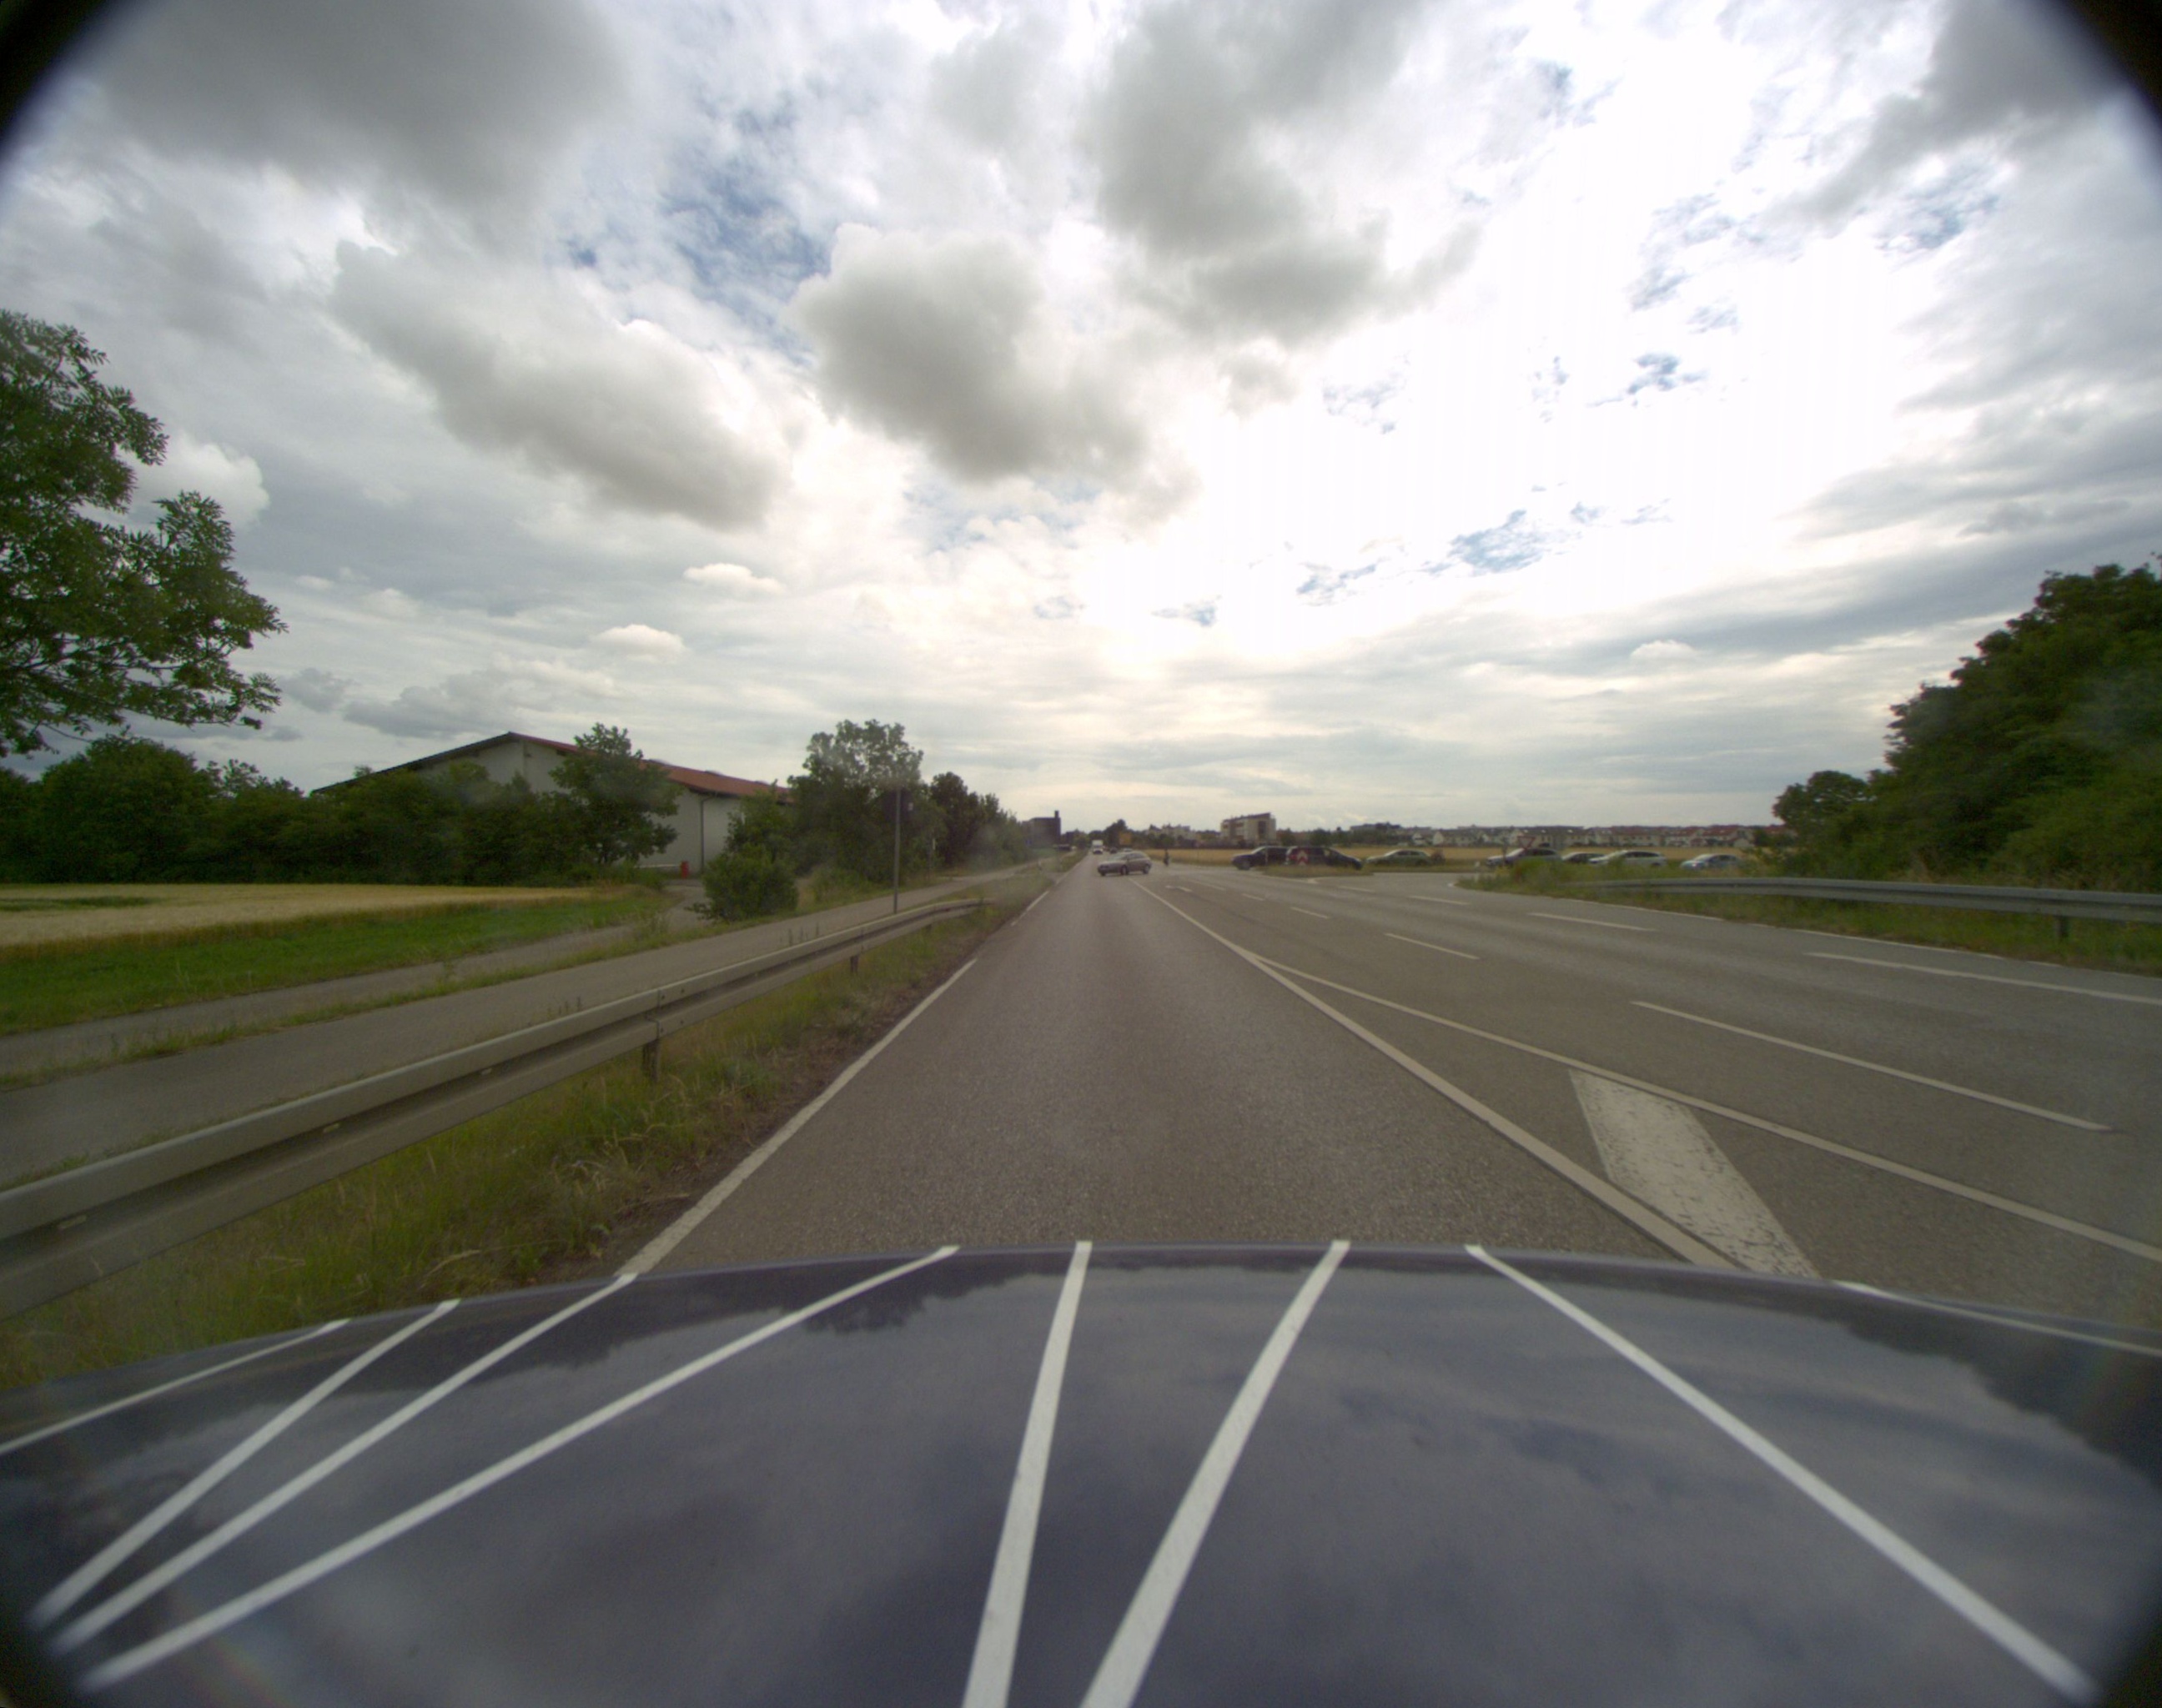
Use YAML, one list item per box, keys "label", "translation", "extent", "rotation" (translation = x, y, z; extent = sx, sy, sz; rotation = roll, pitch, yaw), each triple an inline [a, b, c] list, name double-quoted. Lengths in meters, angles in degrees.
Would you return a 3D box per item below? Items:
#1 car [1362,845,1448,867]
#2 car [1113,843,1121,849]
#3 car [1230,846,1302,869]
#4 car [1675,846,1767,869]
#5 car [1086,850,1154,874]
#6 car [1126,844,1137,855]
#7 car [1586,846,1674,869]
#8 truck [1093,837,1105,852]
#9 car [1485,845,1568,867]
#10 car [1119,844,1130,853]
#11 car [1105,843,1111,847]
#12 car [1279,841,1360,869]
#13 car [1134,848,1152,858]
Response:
- label: "car"
  translation: [22.950, 0.132, 53.929]
  extent: [5.295, 1.512, 1.912]
  rotation: [0, 1, 7]
- label: "car"
  translation: [8.729, -1.907, 182.836]
  extent: [1.683, 1.512, 4.395]
  rotation: [-2, 1, 1]
- label: "car"
  translation: [13.142, 0.249, 54.194]
  extent: [4.750, 1.523, 1.911]
  rotation: [0, 1, 3]
- label: "car"
  translation: [43.421, 0.239, 51.645]
  extent: [4.499, 1.474, 1.912]
  rotation: [0, 1, 7]
- label: "car"
  translation: [2.550, 0.465, 48.575]
  extent: [1.905, 1.416, 4.474]
  rotation: [0, 1, 43]
- label: "car"
  translation: [8.072, -0.730, 120.995]
  extent: [1.746, 1.521, 4.199]
  rotation: [-2, 1, 4]
- label: "car"
  translation: [37.417, 0.238, 51.899]
  extent: [4.499, 1.474, 1.912]
  rotation: [0, 1, 7]
- label: "truck"
  translation: [4.393, -2.260, 182.222]
  extent: [2.813, 3.588, 11.218]
  rotation: [0, 1, 2]
- label: "car"
  translation: [30.939, 0.121, 52.856]
  extent: [4.632, 1.508, 1.912]
  rotation: [0, 1, 7]
- label: "car"
  translation: [7.935, -0.979, 138.426]
  extent: [1.665, 1.475, 3.168]
  rotation: [-2, 1, 0]
- label: "car"
  translation: [9.017, -2.954, 250.464]
  extent: [1.740, 1.450, 4.131]
  rotation: [-1, 1, 0]
- label: "car"
  translation: [14.424, 0.059, 46.114]
  extent: [4.476, 1.602, 1.708]
  rotation: [-1, 1, 7]
- label: "car"
  translation: [8.353, -0.113, 102.699]
  extent: [2.170, 1.277, 4.236]
  rotation: [-2, 1, 1]
